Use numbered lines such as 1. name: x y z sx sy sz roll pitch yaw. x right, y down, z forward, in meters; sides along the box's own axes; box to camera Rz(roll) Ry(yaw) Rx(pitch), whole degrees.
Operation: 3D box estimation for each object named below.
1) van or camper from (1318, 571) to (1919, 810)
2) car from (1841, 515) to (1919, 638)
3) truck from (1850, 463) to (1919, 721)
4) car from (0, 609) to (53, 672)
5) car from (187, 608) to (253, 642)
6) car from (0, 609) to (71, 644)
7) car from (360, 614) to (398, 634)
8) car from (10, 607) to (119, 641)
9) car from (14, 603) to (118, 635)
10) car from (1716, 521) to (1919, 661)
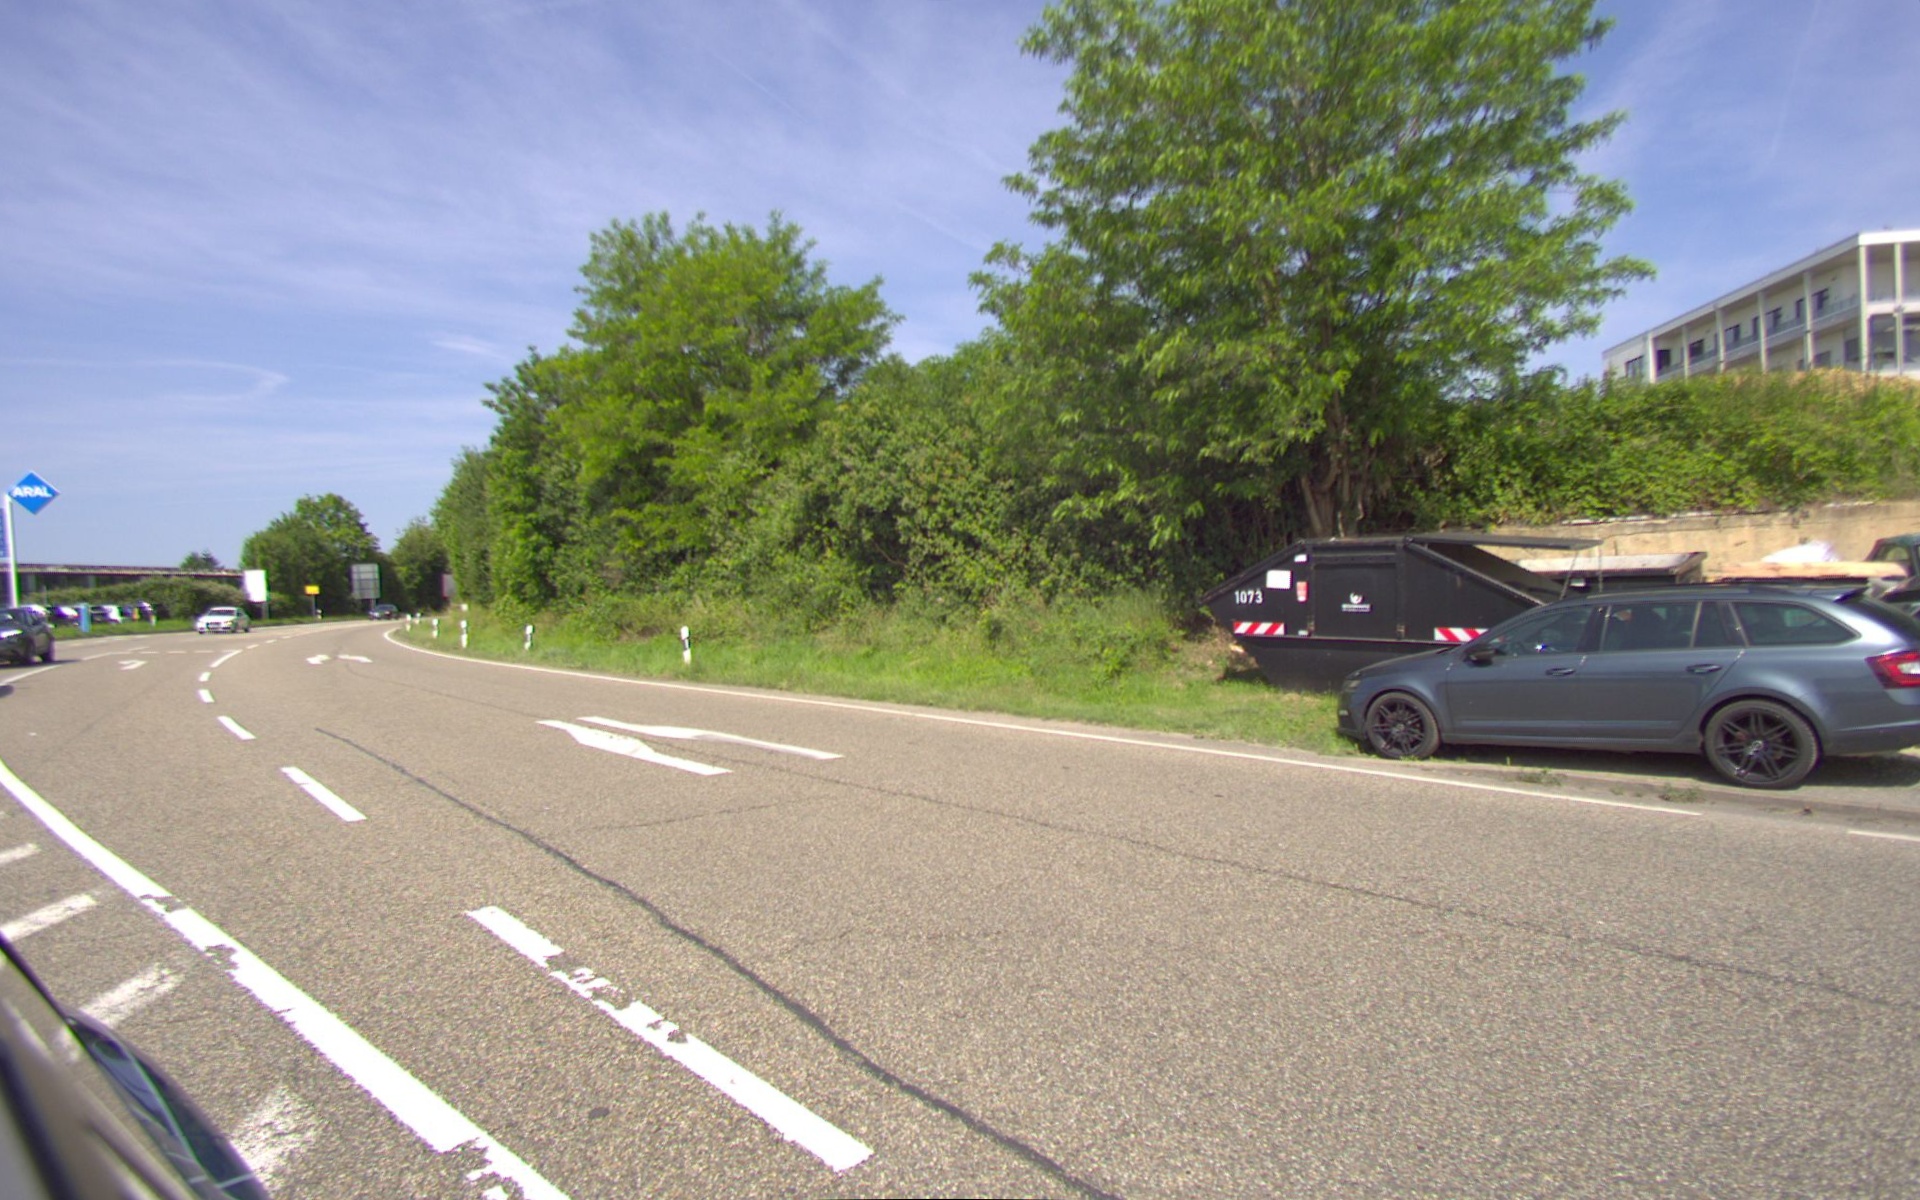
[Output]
1. van or camper: 5.586 0.602 8.691 1.620 1.535 4.473 -4 2 -42
2. car: 12.655 -0.333 12.509 1.730 1.480 3.639 -2 1 26
3. truck: 12.130 -0.225 6.911 2.303 2.313 8.816 -8 5 -40
4. car: -25.296 1.052 26.378 1.791 1.552 3.738 -3 1 -32
5. car: -40.791 1.329 55.897 1.837 1.653 4.436 -2 1 -22
6. car: -48.944 1.397 52.224 4.186 1.650 1.828 -2 -1 -17
7. car: -55.764 2.306 97.234 1.838 1.653 4.432 -2 1 -11
8. car: -50.422 1.346 57.088 4.186 1.650 1.828 -2 -1 -17
9. car: -52.434 1.105 59.442 4.186 1.650 1.828 -2 -1 -17
10. car: 10.858 -0.139 12.971 1.713 1.522 3.628 -2 1 35
